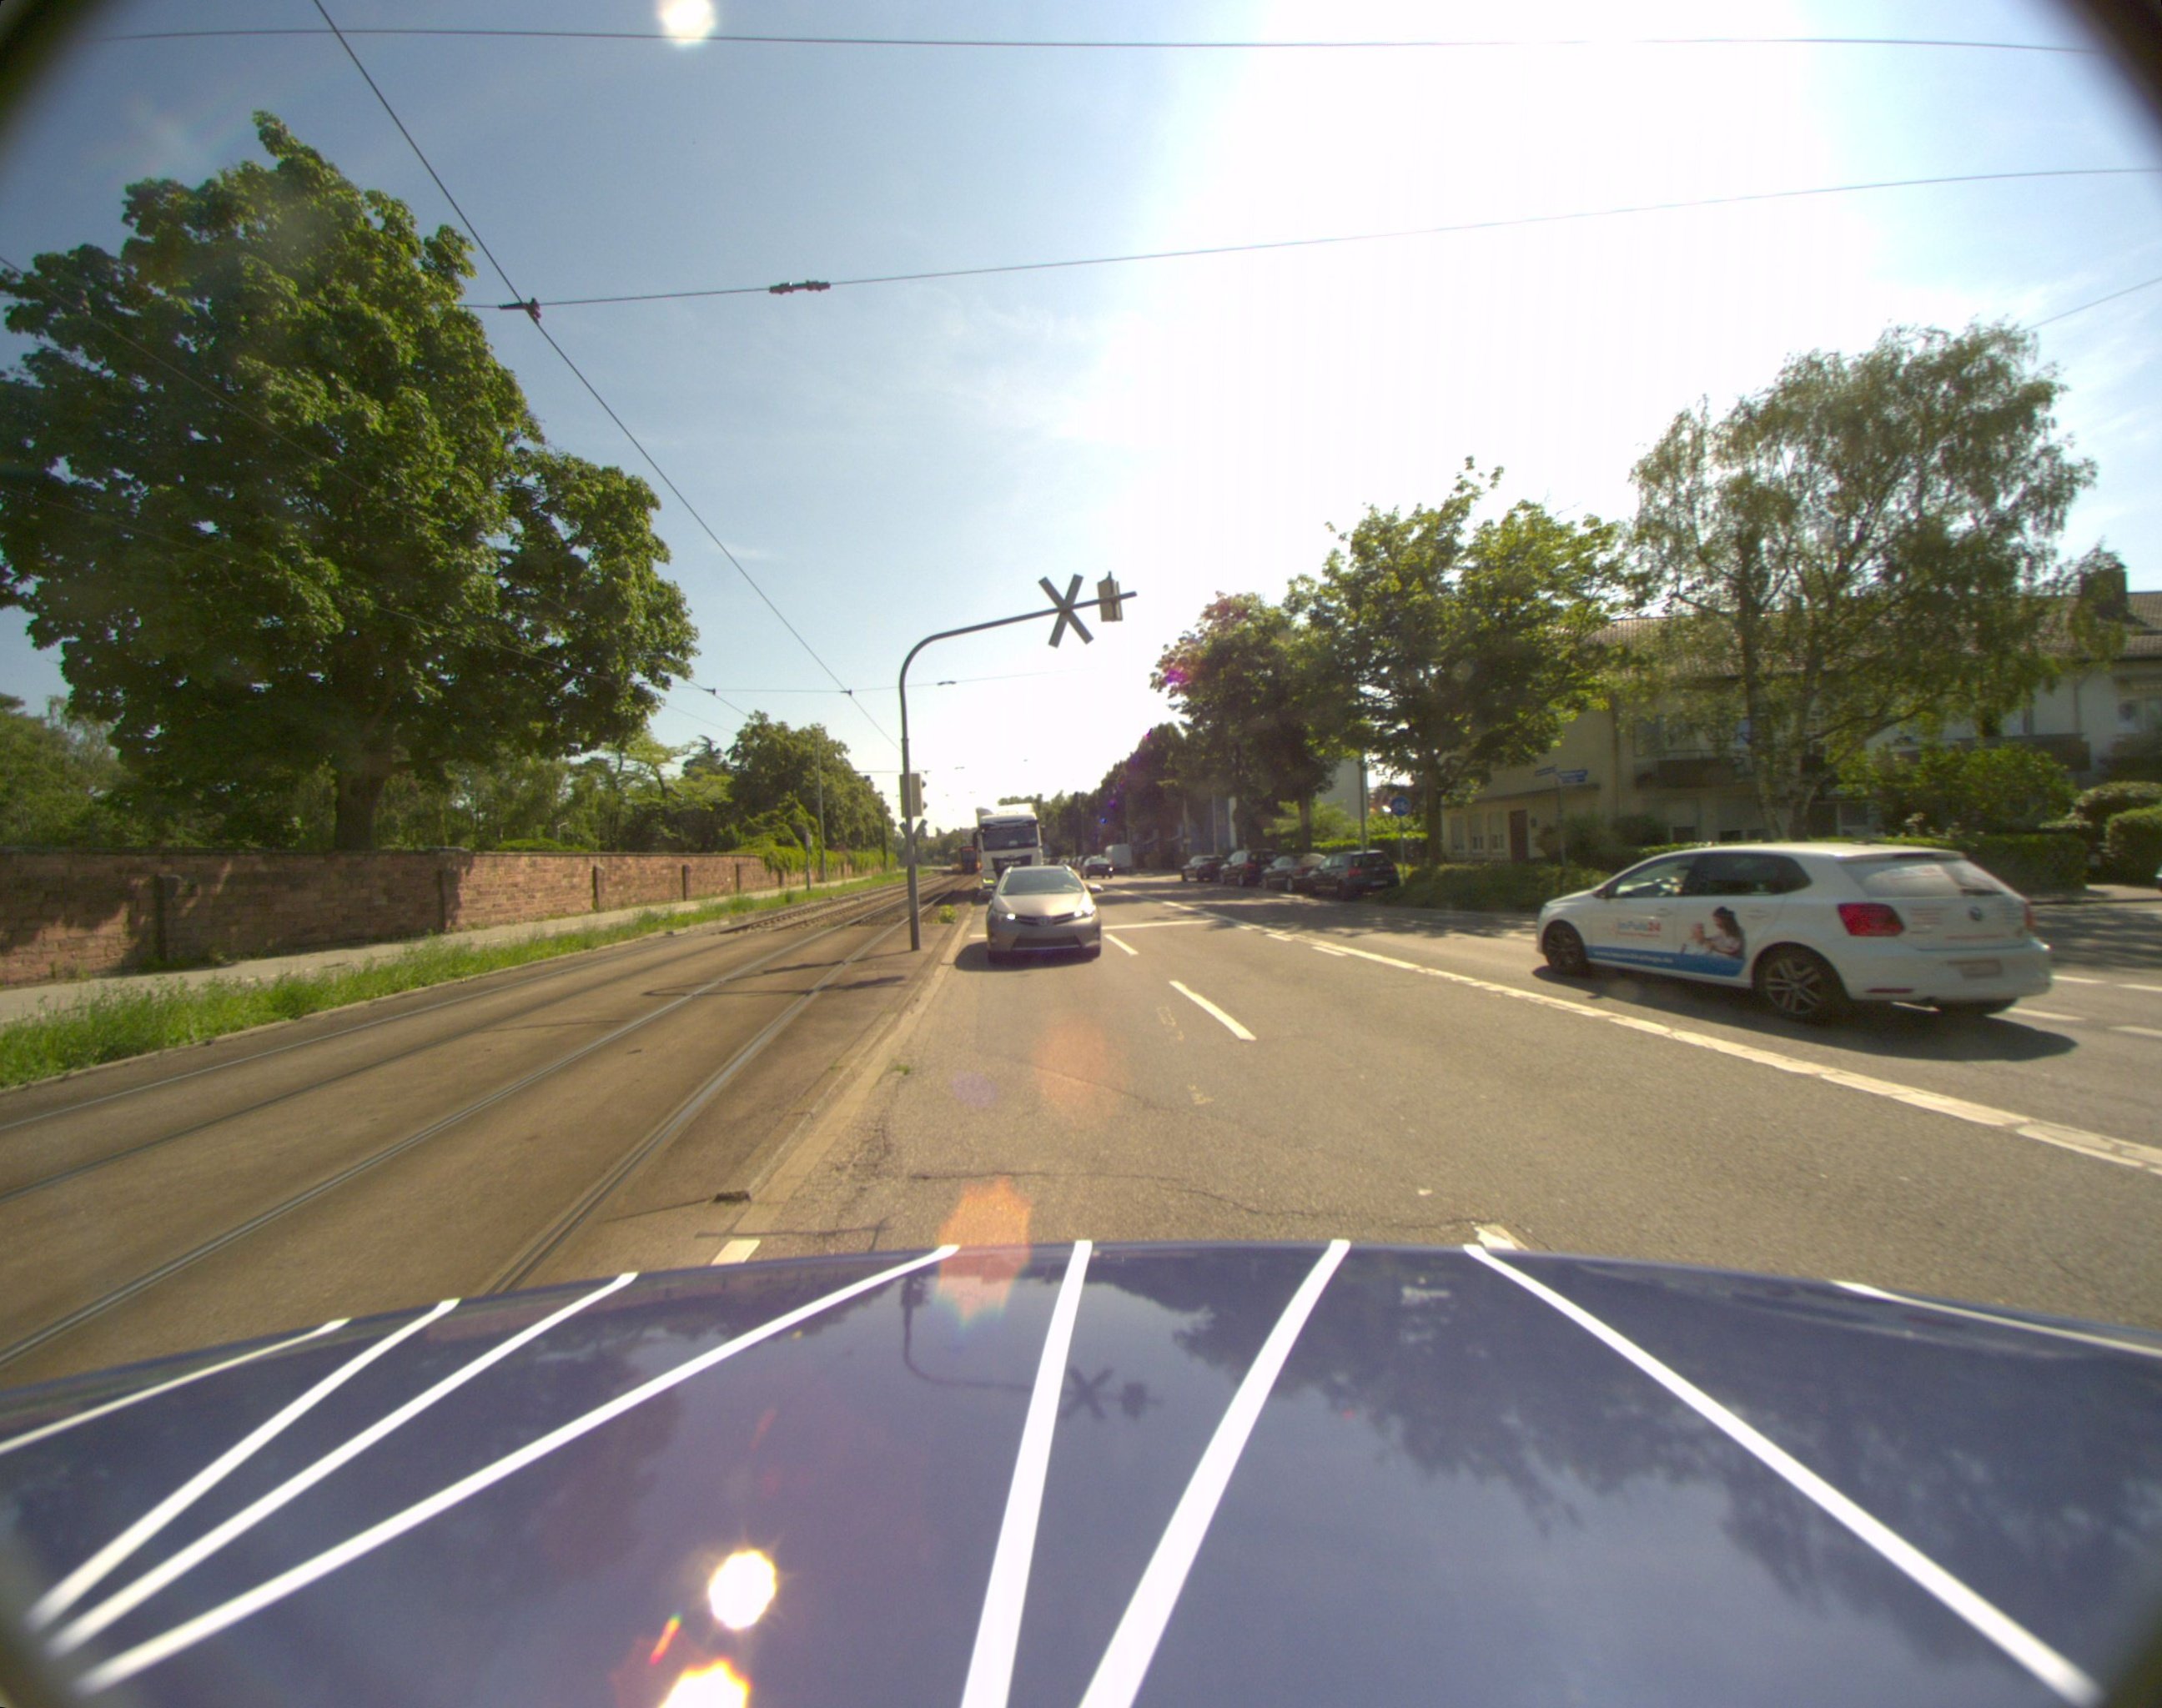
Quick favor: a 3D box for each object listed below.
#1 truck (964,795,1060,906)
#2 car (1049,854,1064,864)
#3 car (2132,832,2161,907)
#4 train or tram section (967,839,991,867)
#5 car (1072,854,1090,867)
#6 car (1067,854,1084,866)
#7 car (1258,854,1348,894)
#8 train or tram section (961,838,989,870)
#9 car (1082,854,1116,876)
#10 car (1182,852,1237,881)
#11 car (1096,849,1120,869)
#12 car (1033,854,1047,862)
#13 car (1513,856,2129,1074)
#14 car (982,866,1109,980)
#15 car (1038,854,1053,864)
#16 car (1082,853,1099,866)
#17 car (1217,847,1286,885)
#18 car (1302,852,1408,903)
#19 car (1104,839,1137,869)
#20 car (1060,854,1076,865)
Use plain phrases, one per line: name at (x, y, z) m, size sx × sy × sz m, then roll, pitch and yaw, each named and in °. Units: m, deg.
truck at (-3.406, -0.202, 36.409) m, size 3.393 × 4.046 × 14.277 m, roll -4°, pitch 1°, yaw -6°
car at (-4.086, 0.854, 124.682) m, size 1.680 × 1.493 × 3.762 m, roll -6°, pitch 1°, yaw -12°
car at (23.991, 0.262, 14.945) m, size 3.996 × 1.516 × 1.808 m, roll -2°, pitch 1°, yaw 2°
train or tram section at (-15.007, -0.177, 112.885) m, size 2.681 × 3.631 × 18.945 m, roll -4°, pitch 1°, yaw -6°
car at (0.038, 0.852, 101.901) m, size 1.680 × 1.493 × 3.763 m, roll -6°, pitch 1°, yaw -10°
car at (-0.785, 0.828, 107.689) m, size 1.680 × 1.493 × 3.763 m, roll -6°, pitch 1°, yaw -10°
car at (8.422, 0.706, 29.254) m, size 1.702 × 1.387 × 4.578 m, roll -2°, pitch 0°, yaw -6°
train or tram section at (-13.238, -0.055, 95.863) m, size 2.678 × 3.631 × 15.296 m, roll -4°, pitch 1°, yaw -6°
car at (1.196, 0.749, 51.780) m, size 1.791 × 1.401 × 4.302 m, roll -1°, pitch 0°, yaw -6°
car at (6.943, 0.640, 41.534) m, size 1.680 × 1.427 × 4.454 m, roll -2°, pitch 0°, yaw -8°
car at (2.823, 0.488, 80.613) m, size 1.680 × 1.925 × 4.455 m, roll -6°, pitch 1°, yaw -6°
car at (-7.498, 0.720, 137.812) m, size 1.681 × 1.493 × 3.761 m, roll -2°, pitch 0°, yaw -17°
car at (6.261, 0.757, 7.210) m, size 1.733 × 1.456 × 3.998 m, roll -1°, pitch 0°, yaw -6°
car at (-0.703, 1.013, 12.847) m, size 1.720 × 1.439 × 4.028 m, roll -4°, pitch 0°, yaw -6°
car at (-6.181, 0.905, 133.176) m, size 1.681 × 1.493 × 3.761 m, roll -6°, pitch 1°, yaw -17°
car at (1.178, 0.716, 96.089) m, size 1.680 × 1.493 × 3.764 m, roll -6°, pitch 1°, yaw -6°
car at (7.711, 0.512, 34.836) m, size 1.680 × 1.603 × 4.239 m, roll -2°, pitch 0°, yaw -8°
car at (8.660, 0.679, 24.385) m, size 1.620 × 1.442 × 4.081 m, roll -2°, pitch 0°, yaw -5°
car at (3.705, 0.008, 72.334) m, size 2.017 × 2.636 × 6.083 m, roll -6°, pitch 1°, yaw -6°
car at (-2.005, 0.819, 114.252) m, size 1.680 × 1.493 × 3.763 m, roll -6°, pitch 1°, yaw -10°
